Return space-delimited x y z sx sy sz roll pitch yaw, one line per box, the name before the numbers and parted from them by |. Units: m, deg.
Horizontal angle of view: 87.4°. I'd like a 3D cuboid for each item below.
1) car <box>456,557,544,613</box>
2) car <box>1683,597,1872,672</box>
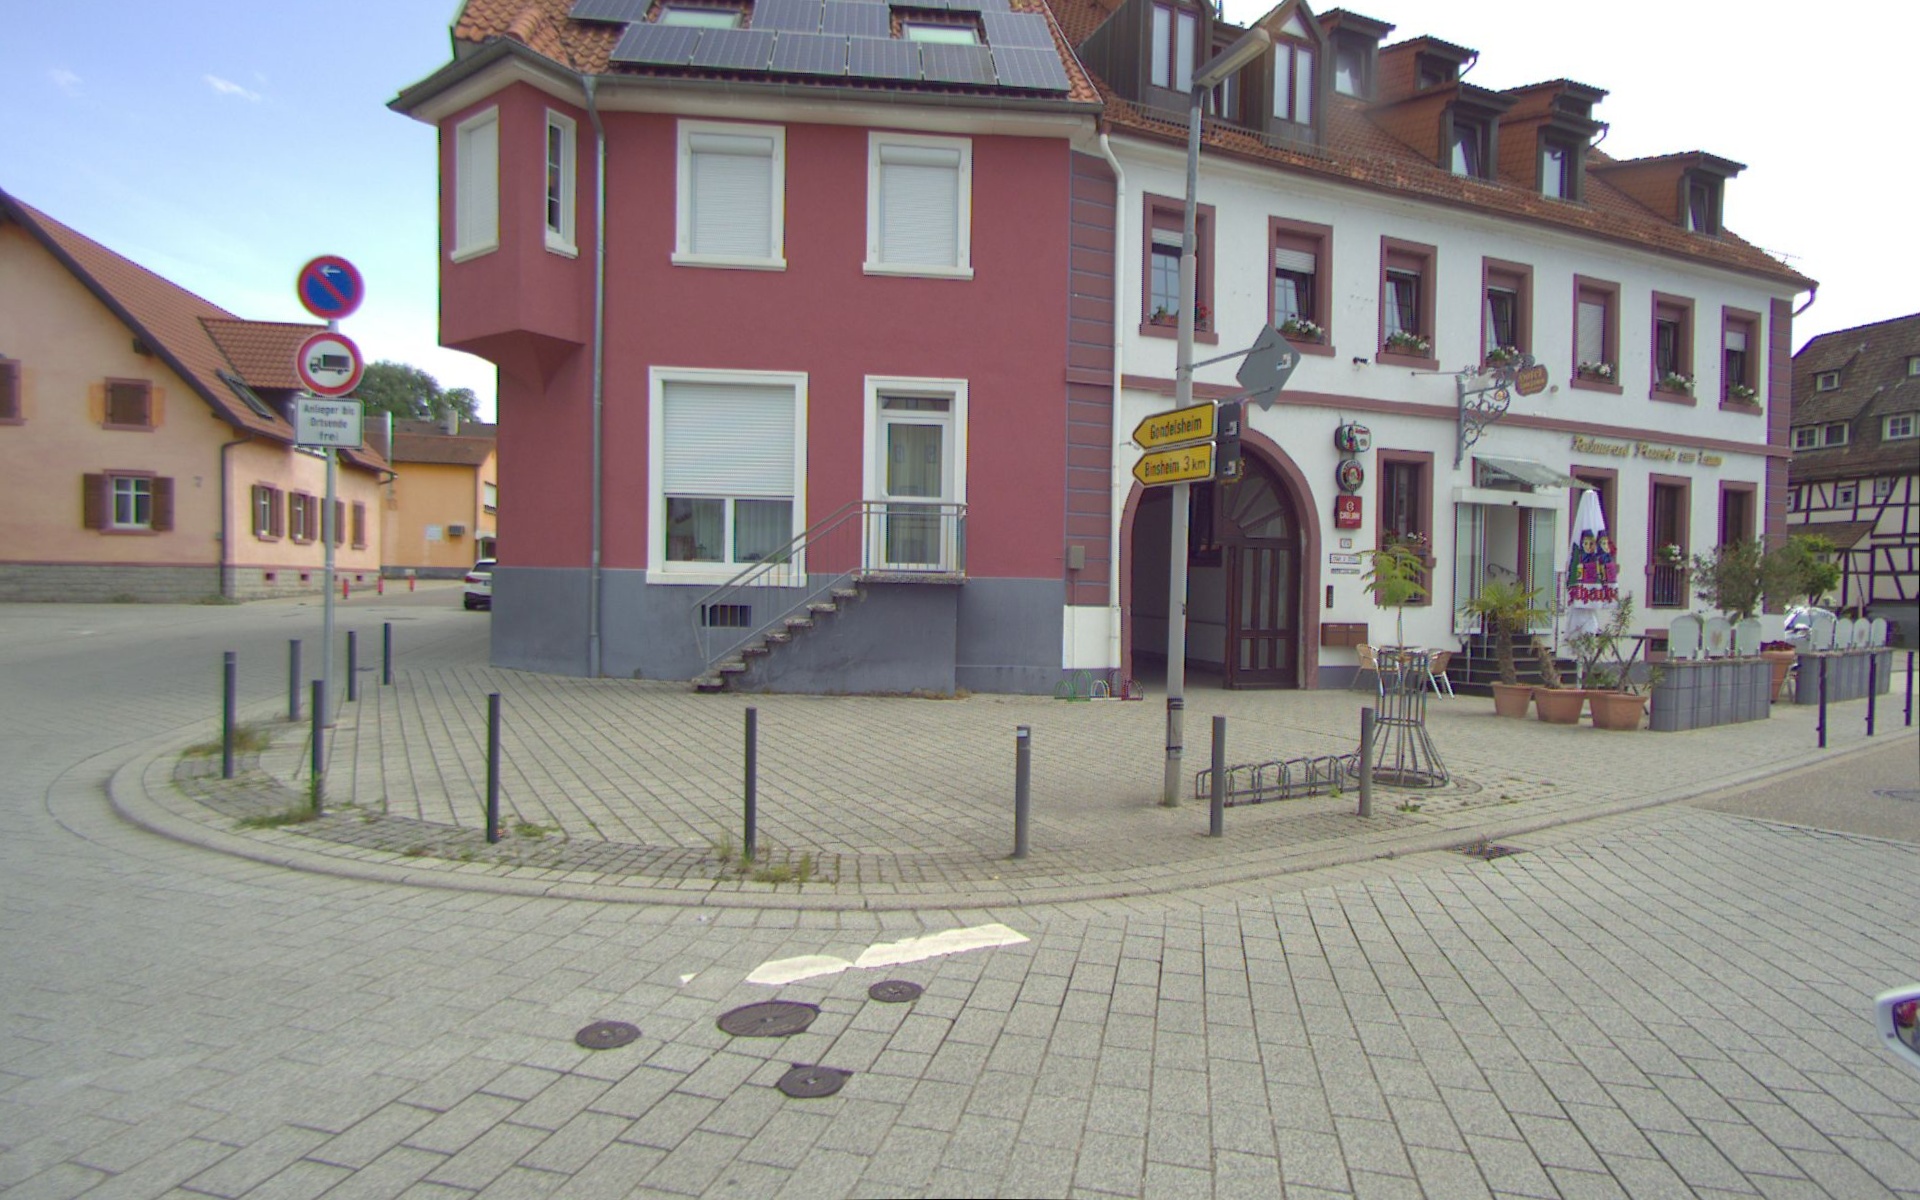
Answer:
car | -13.560 -0.450 29.798 1.954 1.538 3.452 1 1 -18
car | 19.197 0.782 23.577 4.219 1.513 1.752 1 4 -26
